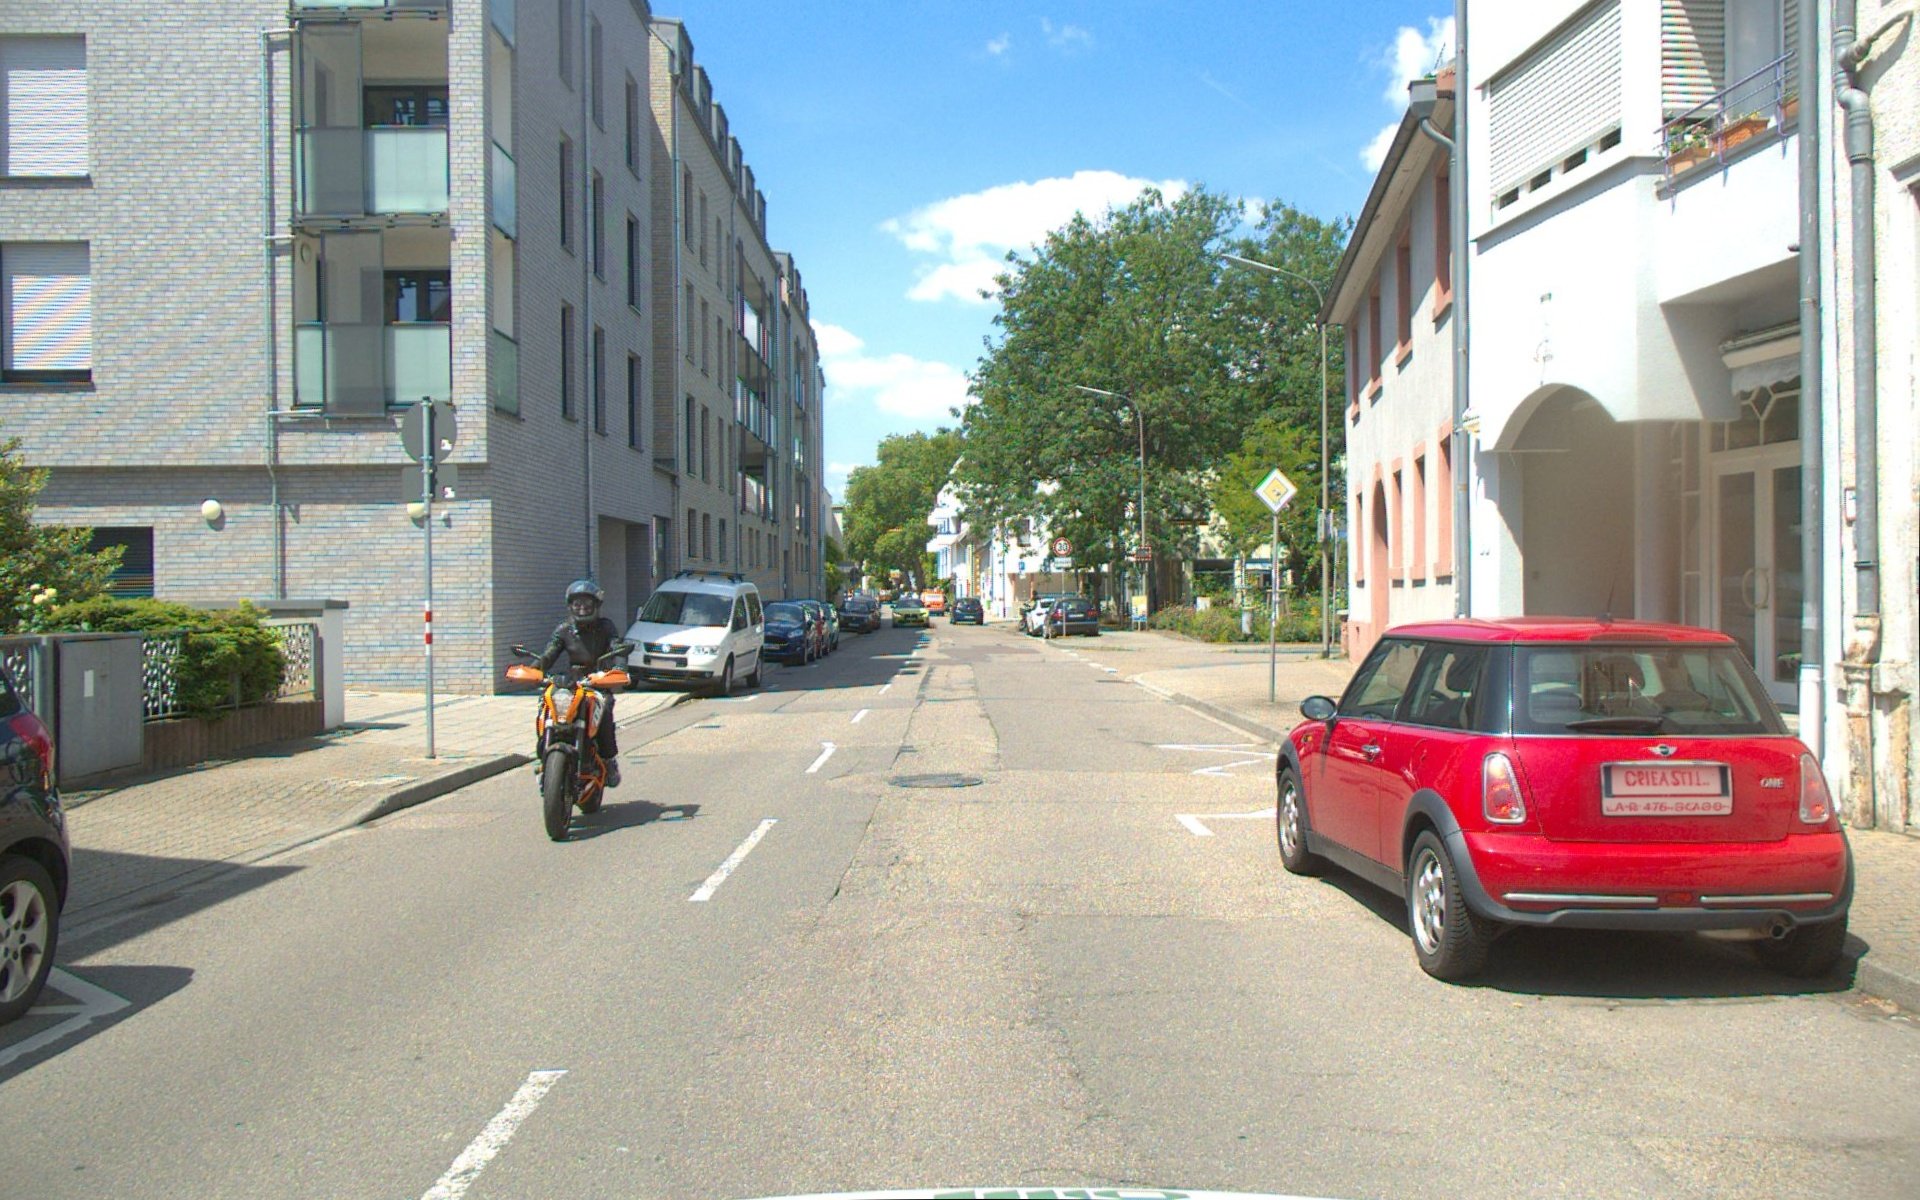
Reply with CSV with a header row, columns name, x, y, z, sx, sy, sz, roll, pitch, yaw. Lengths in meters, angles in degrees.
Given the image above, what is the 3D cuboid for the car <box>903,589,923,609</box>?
name,x,y,z,sx,sy,sz,roll,pitch,yaw
car,-4.085,-0.125,142.753,1.677,1.662,3.702,-1,0,-3

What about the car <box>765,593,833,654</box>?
name,x,y,z,sx,sy,sz,roll,pitch,yaw
car,-4.376,0.617,45.333,1.558,1.581,3.570,0,0,-1

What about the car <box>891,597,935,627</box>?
name,x,y,z,sx,sy,sz,roll,pitch,yaw
car,-2.349,0.577,83.690,1.952,1.405,4.393,1,0,1

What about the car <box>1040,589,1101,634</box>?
name,x,y,z,sx,sy,sz,roll,pitch,yaw
car,3.851,0.392,58.157,1.658,1.444,3.999,-4,0,-2

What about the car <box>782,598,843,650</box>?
name,x,y,z,sx,sy,sz,roll,pitch,yaw
car,-4.431,0.686,50.027,1.558,1.481,3.702,1,0,-1

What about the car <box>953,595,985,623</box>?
name,x,y,z,sx,sy,sz,roll,pitch,yaw
car,0.496,0.489,90.479,1.680,1.426,4.000,-1,1,0

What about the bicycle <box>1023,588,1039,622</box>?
name,x,y,z,sx,sy,sz,roll,pitch,yaw
bicycle,3.194,0.225,74.593,0.474,1.516,0.568,-1,0,-39

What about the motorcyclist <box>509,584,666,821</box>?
name,x,y,z,sx,sy,sz,roll,pitch,yaw
motorcyclist,-2.536,0.666,11.368,0.805,1.535,1.057,-1,0,0

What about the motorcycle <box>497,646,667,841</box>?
name,x,y,z,sx,sy,sz,roll,pitch,yaw
motorcycle,-2.562,0.932,11.442,0.673,1.142,2.028,-1,0,0

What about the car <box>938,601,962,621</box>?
name,x,y,z,sx,sy,sz,roll,pitch,yaw
car,-0.866,0.933,140.816,1.953,1.646,3.998,0,0,-2

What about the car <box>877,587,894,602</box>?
name,x,y,z,sx,sy,sz,roll,pitch,yaw
car,-10.330,-0.774,229.758,2.113,2.049,3.999,-1,0,-1

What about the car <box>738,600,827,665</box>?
name,x,y,z,sx,sy,sz,roll,pitch,yaw
car,-4.272,0.756,40.329,1.687,1.481,4.005,0,0,0

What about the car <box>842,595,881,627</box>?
name,x,y,z,sx,sy,sz,roll,pitch,yaw
car,-4.764,0.507,80.501,1.697,1.467,3.999,-1,0,-1

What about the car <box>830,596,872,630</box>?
name,x,y,z,sx,sy,sz,roll,pitch,yaw
car,-4.943,0.565,75.486,1.697,1.467,3.999,-1,0,-1

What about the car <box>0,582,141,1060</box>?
name,x,y,z,sx,sy,sz,roll,pitch,yaw
car,-4.244,0.776,4.795,1.758,1.675,3.945,0,0,0

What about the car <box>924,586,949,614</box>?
name,x,y,z,sx,sy,sz,roll,pitch,yaw
car,-1.739,-0.013,122.154,1.801,2.049,4.000,-1,1,0

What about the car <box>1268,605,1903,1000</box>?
name,x,y,z,sx,sy,sz,roll,pitch,yaw
car,2.669,0.757,7.933,1.586,1.410,3.537,-1,0,-2

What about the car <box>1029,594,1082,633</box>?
name,x,y,z,sx,sy,sz,roll,pitch,yaw
car,3.722,0.521,64.944,1.743,1.445,3.999,-1,0,-2

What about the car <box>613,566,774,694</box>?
name,x,y,z,sx,sy,sz,roll,pitch,yaw
car,-4.359,0.440,27.706,1.720,1.925,4.338,1,1,3

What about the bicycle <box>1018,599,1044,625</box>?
name,x,y,z,sx,sy,sz,roll,pitch,yaw
bicycle,3.191,0.536,74.606,0.480,1.134,1.178,-1,0,-40
